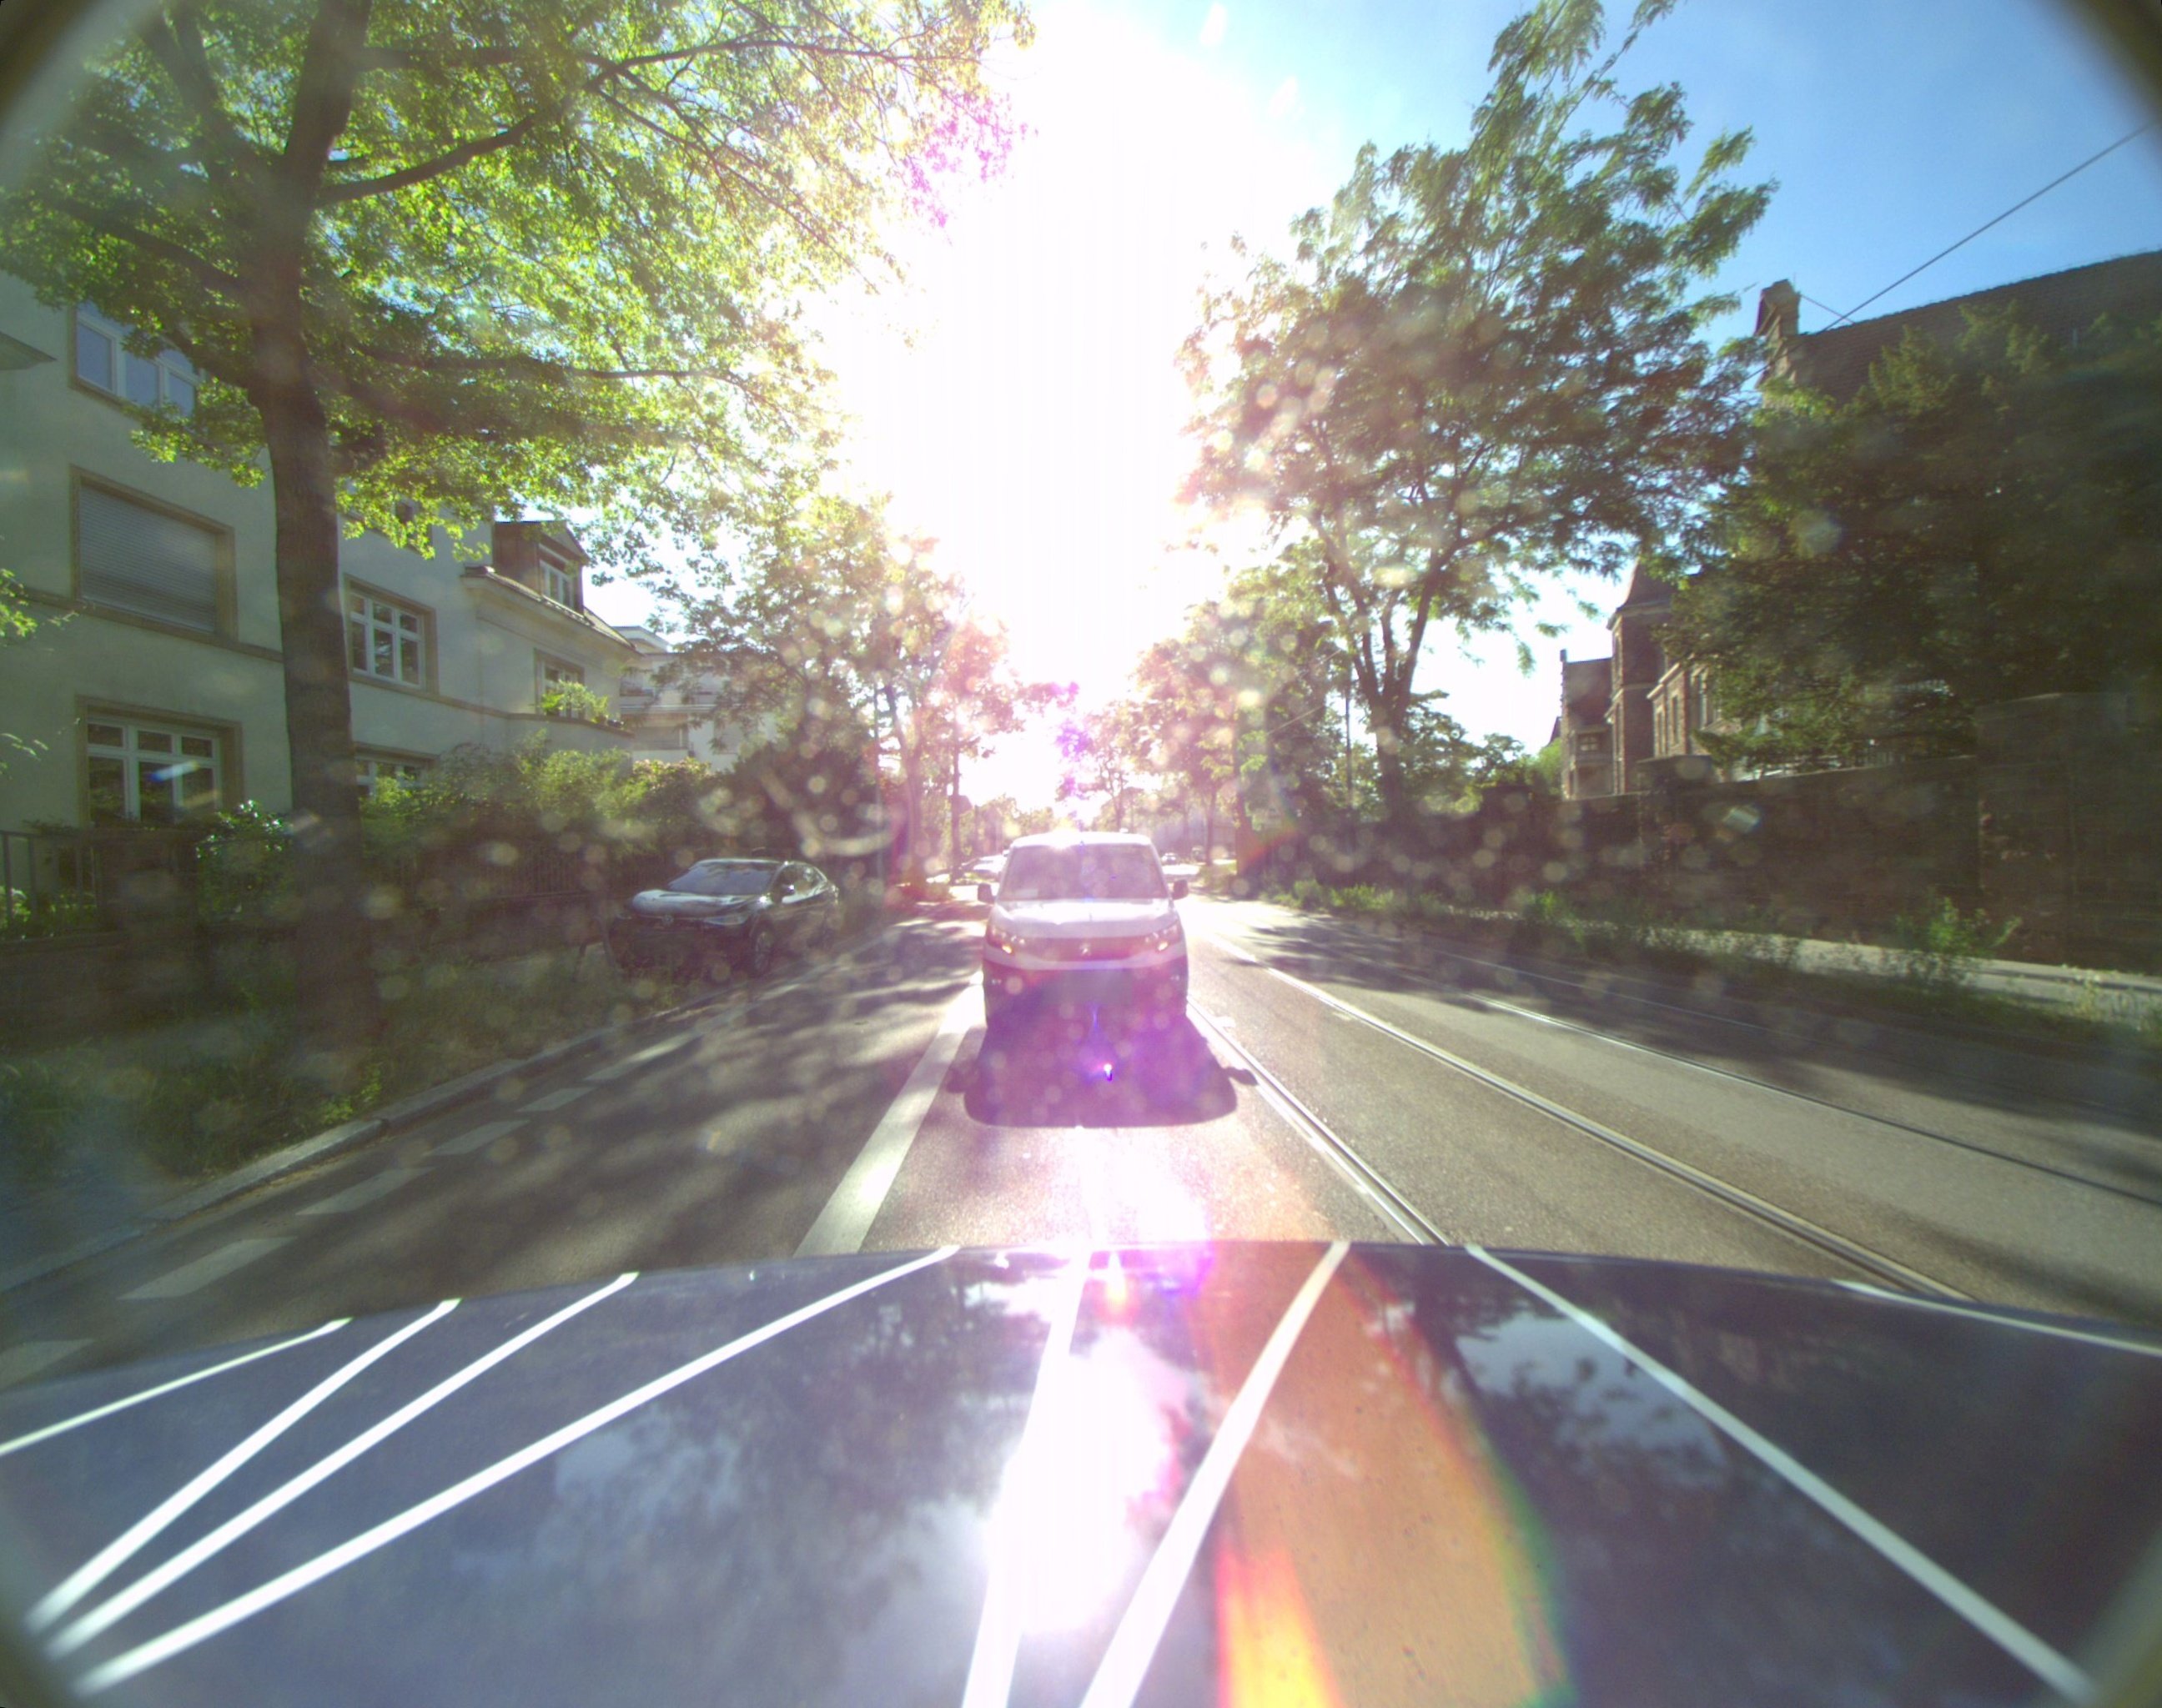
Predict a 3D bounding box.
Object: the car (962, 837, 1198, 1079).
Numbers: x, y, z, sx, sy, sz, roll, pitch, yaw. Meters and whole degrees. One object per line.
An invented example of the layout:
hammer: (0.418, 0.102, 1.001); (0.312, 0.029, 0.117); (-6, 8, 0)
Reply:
car: (-0.018, 0.784, 7.762); (1.768, 1.812, 3.999); (-1, 0, 0)

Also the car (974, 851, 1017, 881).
car: (-5.049, 0.660, 45.215); (1.823, 1.630, 4.001); (-2, 0, 4)

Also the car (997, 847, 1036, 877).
car: (-4.365, 0.503, 51.775); (2.129, 1.884, 4.746); (-2, 0, 1)

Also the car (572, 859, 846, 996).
car: (-5.255, 0.934, 11.541); (1.999, 1.665, 4.380); (1, -1, 0)
